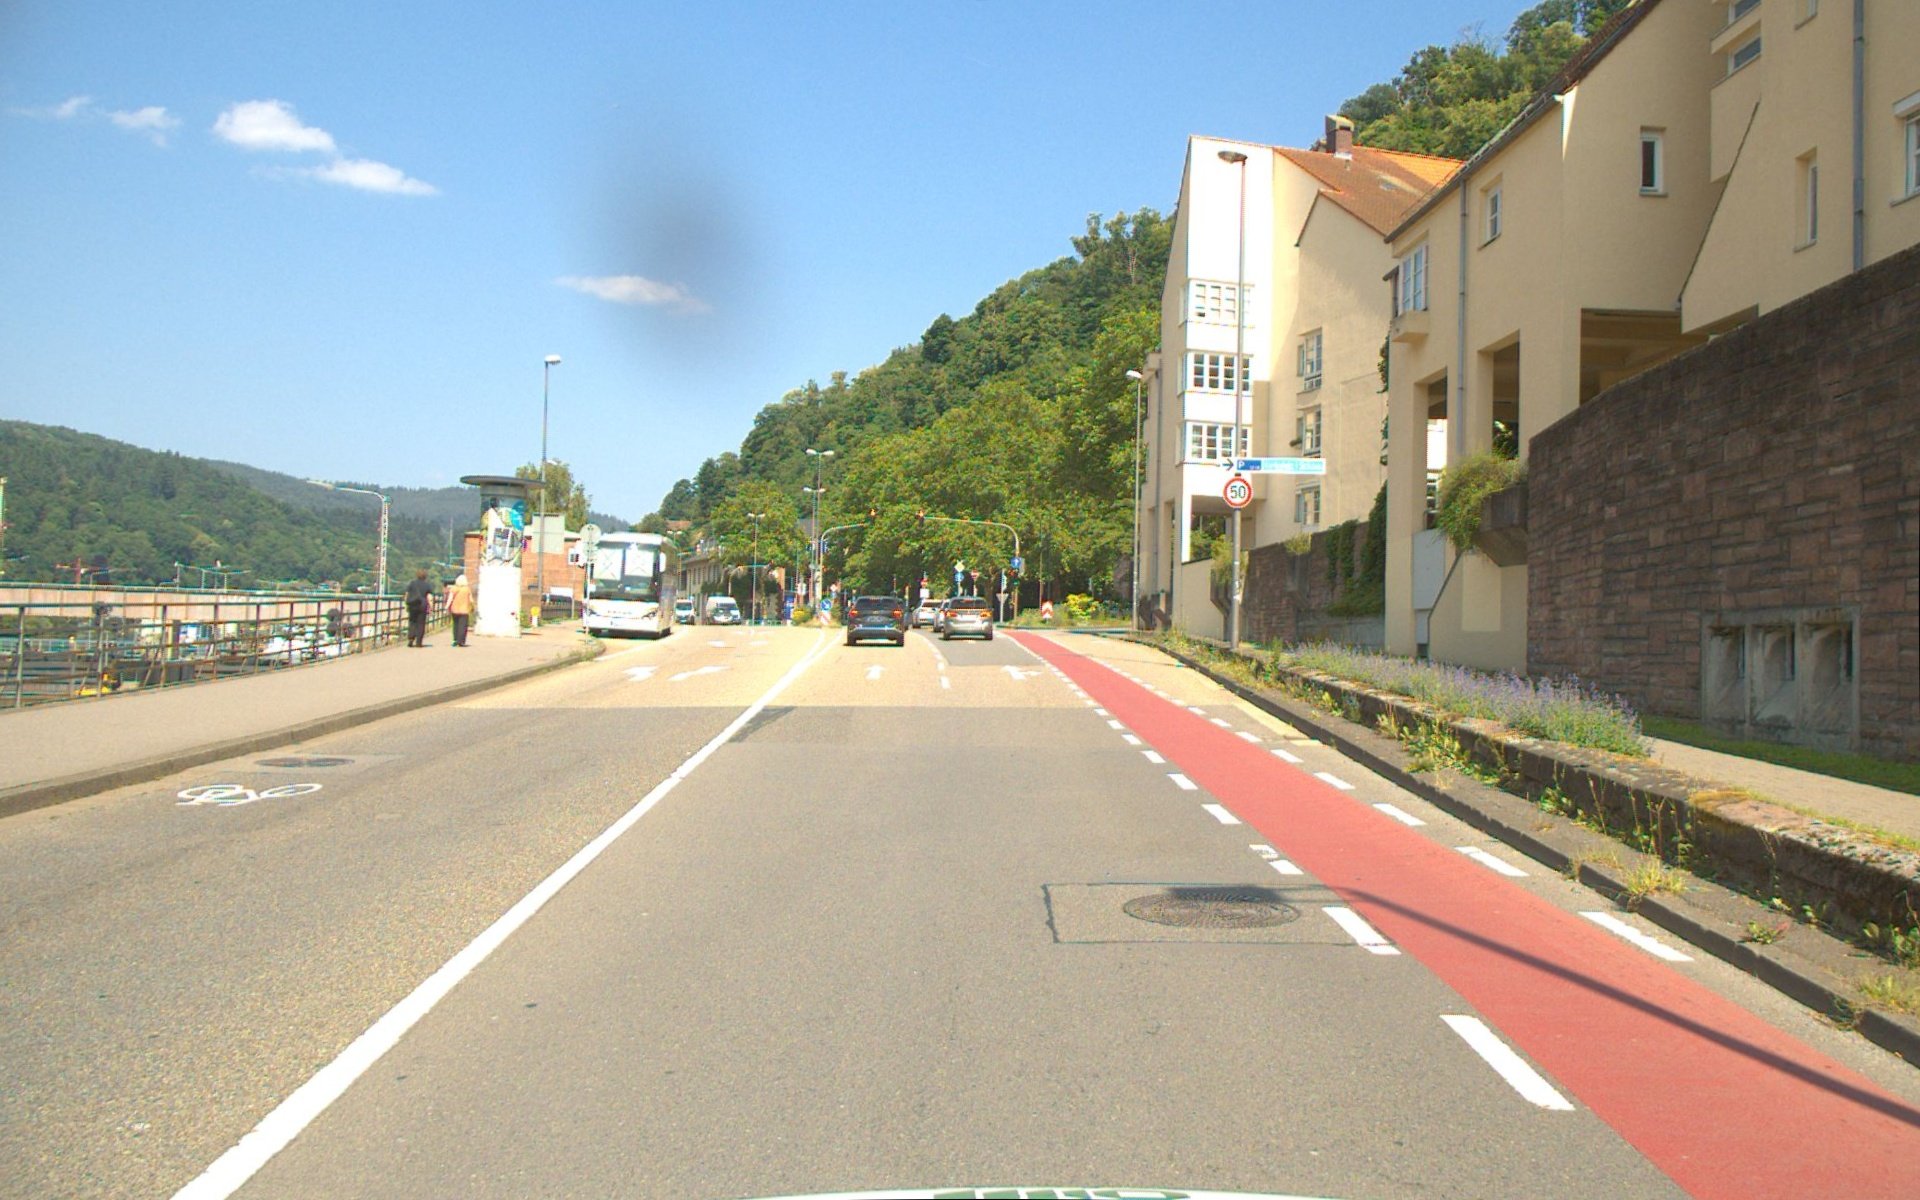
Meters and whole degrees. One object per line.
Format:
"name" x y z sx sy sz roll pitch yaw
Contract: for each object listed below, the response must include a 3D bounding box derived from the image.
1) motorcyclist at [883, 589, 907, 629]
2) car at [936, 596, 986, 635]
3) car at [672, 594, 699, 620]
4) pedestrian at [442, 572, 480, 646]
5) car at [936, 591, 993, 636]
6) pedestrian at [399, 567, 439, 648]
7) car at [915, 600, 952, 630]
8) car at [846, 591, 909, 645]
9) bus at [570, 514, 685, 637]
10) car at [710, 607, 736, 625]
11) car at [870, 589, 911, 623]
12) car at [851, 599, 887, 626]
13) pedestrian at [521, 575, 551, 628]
"motorcyclist" -2.855 0.394 72.964 1.054 1.714 1.155 0 0 -3
"car" 0.009 0.666 70.818 1.953 1.560 4.856 1 0 -2
"car" -23.749 0.568 142.835 2.174 2.115 5.031 -2 0 -10
"pedestrian" -11.288 0.210 37.410 0.690 1.649 0.815 1 -1 -10
"car" 0.127 0.491 60.113 1.850 1.548 4.304 2 -1 -2
"pedestrian" -11.725 0.169 35.874 0.670 1.739 0.772 1 -1 -8
"car" -1.415 0.787 87.117 1.750 1.559 4.733 0 0 -3
"car" -2.525 0.555 51.371 1.831 1.540 4.149 2 -1 -2
"bus" -12.098 -0.827 61.425 2.901 3.866 13.223 5 0 -7
"car" -20.197 1.341 140.993 1.955 1.457 4.163 0 0 -5
"car" -3.340 0.291 79.400 1.830 1.589 3.996 0 0 -5
"car" -4.800 0.638 86.999 1.830 1.382 3.996 0 0 -5
"pedestrian" -14.662 0.051 57.252 0.875 1.827 1.039 1 -1 -8
